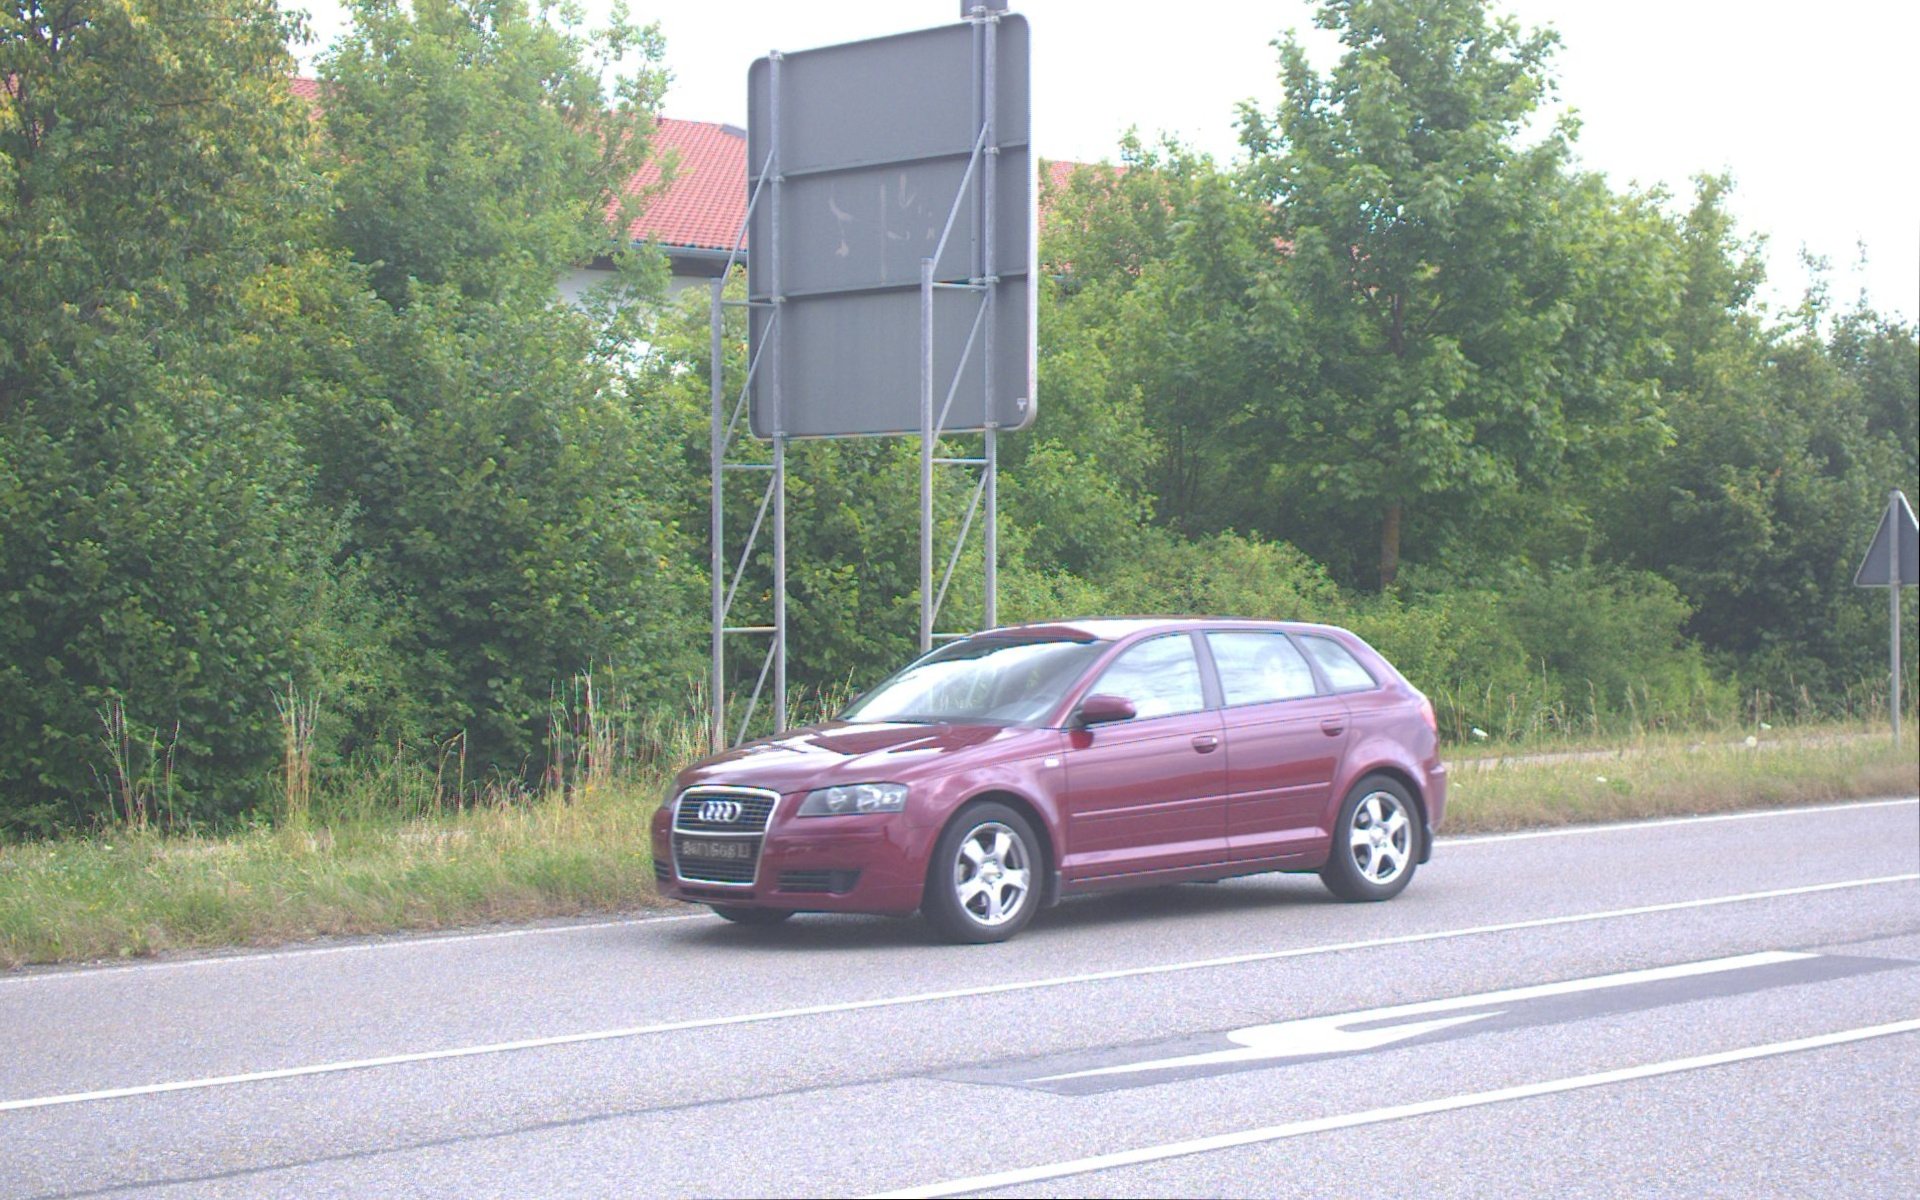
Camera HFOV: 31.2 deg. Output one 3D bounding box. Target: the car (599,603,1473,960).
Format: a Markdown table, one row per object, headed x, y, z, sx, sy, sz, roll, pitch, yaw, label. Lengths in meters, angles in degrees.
| x | y | z | sx | sy | sz | roll | pitch | yaw | label |
| --- | --- | --- | --- | --- | --- | --- | --- | --- | --- |
| 0.455 | 0.762 | 16.223 | 4.078 | 1.397 | 1.677 | -1 | 0 | -43 | car |
